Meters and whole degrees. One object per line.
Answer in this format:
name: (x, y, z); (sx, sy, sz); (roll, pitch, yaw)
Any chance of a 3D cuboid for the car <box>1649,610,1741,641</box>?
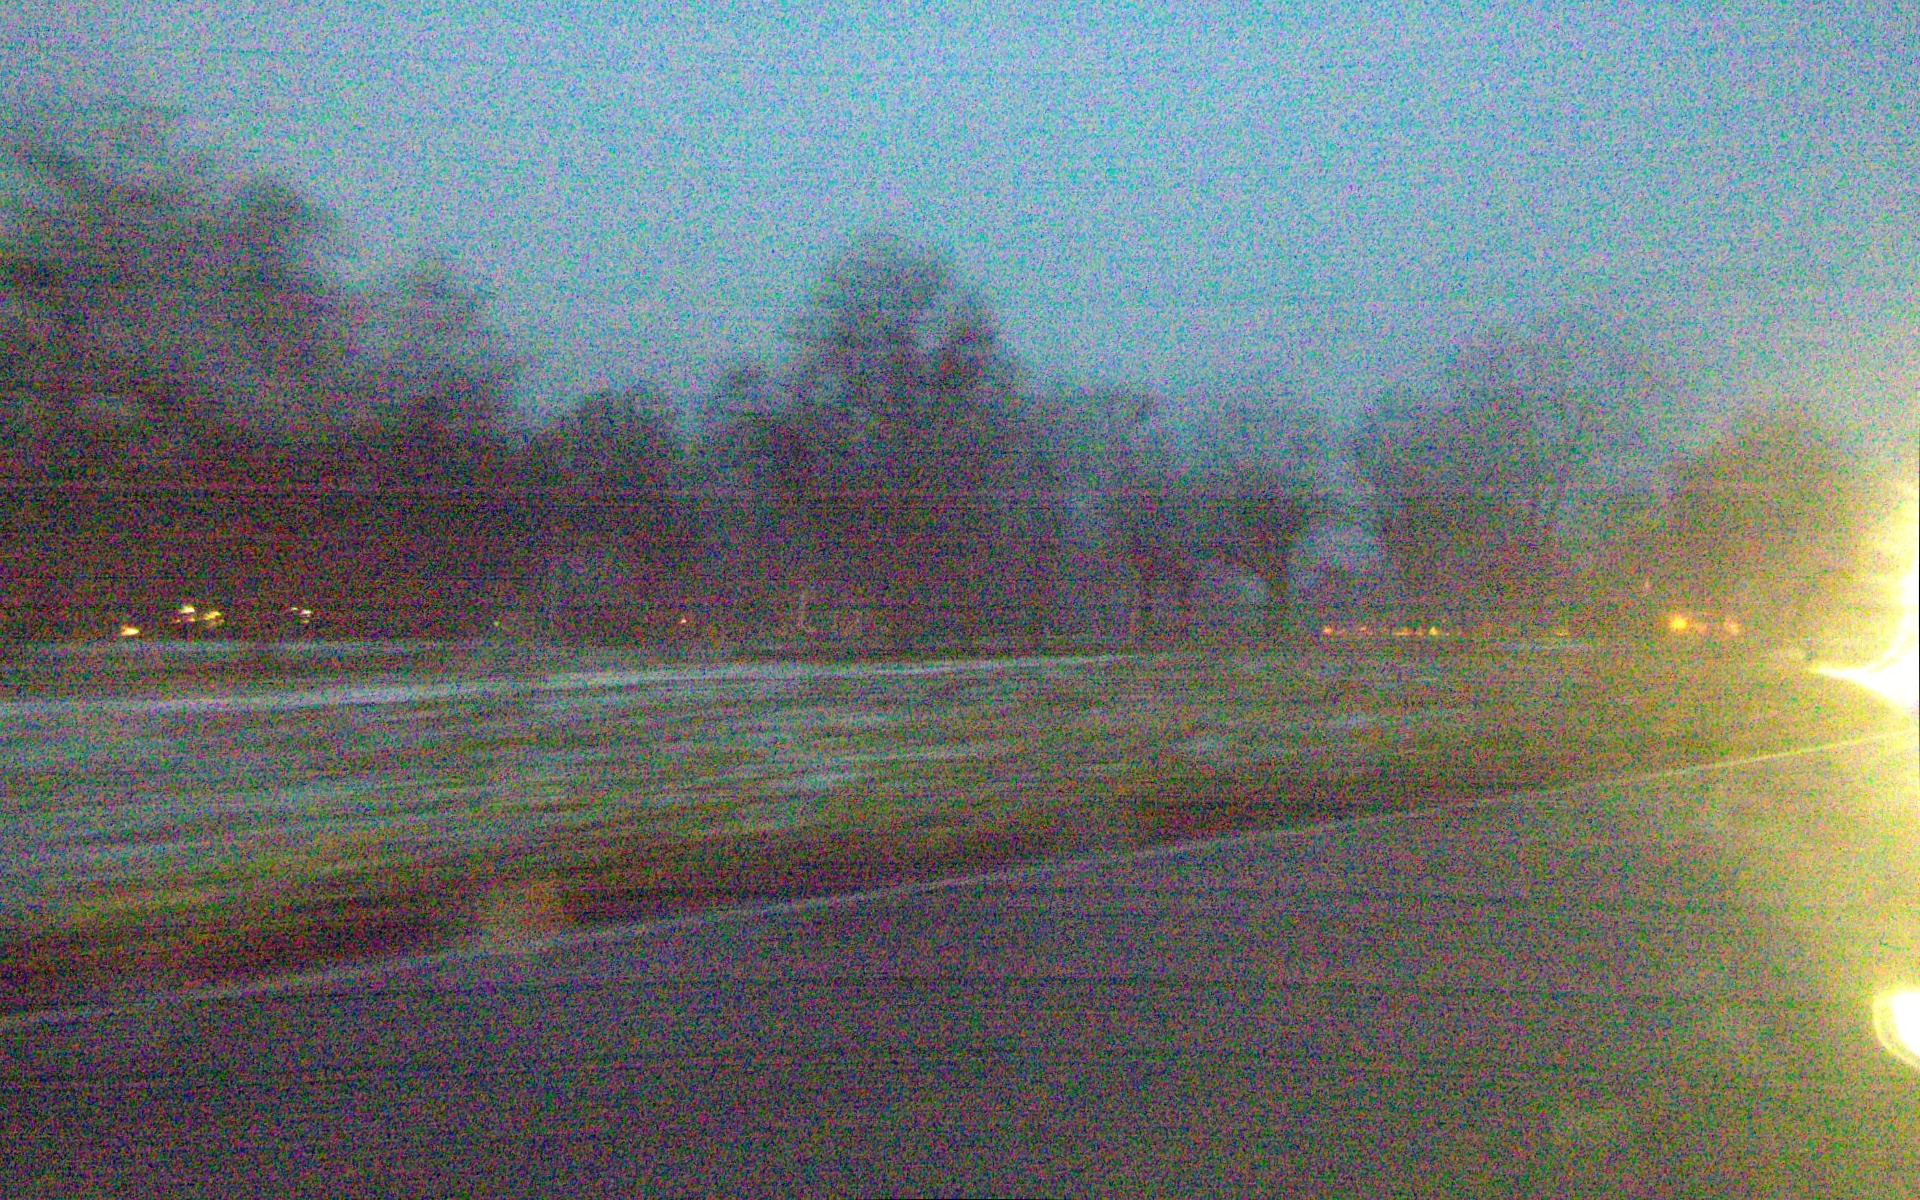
car: (42.148, 1.467, 57.715); (4.091, 1.709, 1.690); (0, -2, 31)
